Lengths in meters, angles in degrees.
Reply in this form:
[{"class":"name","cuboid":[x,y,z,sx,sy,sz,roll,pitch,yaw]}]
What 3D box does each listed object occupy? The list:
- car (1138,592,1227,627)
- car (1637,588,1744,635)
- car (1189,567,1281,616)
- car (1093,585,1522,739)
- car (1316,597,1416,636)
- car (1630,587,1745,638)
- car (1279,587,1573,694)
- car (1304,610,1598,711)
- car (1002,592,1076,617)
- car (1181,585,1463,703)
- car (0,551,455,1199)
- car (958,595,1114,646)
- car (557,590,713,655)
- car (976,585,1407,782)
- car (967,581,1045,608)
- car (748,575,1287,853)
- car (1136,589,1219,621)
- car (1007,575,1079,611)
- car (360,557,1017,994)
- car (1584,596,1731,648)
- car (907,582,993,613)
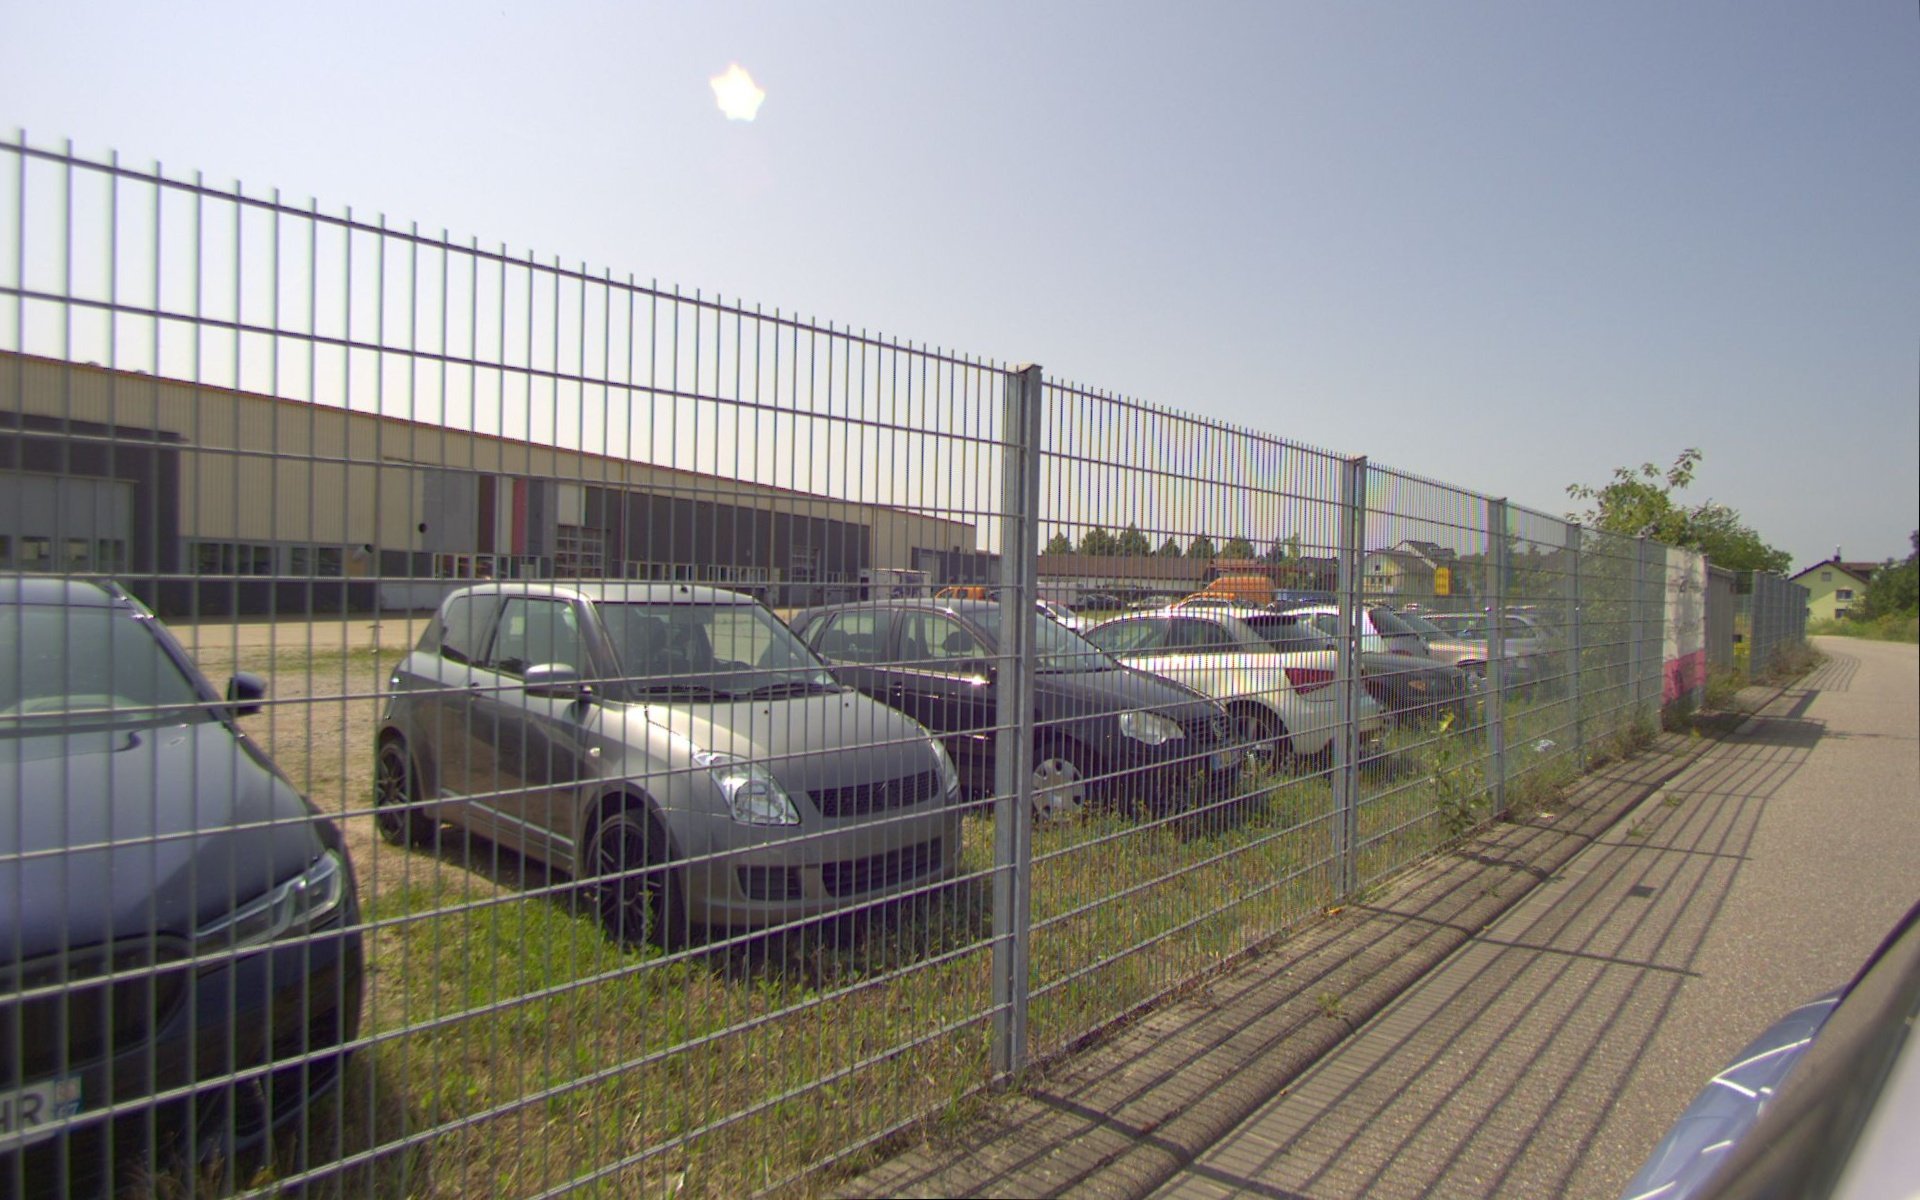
[{"class":"car","cuboid":[10.537,0.447,47.947,3.795,1.480,1.573,2,0,28]},{"class":"car","cuboid":[34.367,0.519,47.652,3.979,2.039,1.973,2,1,38]},{"class":"car","cuboid":[15.697,-0.512,57.740,4.703,2.617,1.961,2,0,28]},{"class":"car","cuboid":[3.695,0.539,11.209,4.180,1.371,1.697,1,1,41]},{"class":"car","cuboid":[16.973,0.656,42.324,3.739,1.455,1.596,2,0,28]},{"class":"car","cuboid":[31.870,0.506,44.387,3.979,2.039,1.973,2,1,38]},{"class":"car","cuboid":[6.870,0.514,15.115,3.661,1.371,1.714,1,1,43]},{"class":"car","cuboid":[8.130,0.955,16.982,4.157,1.493,1.614,-2,-1,40]},{"class":"car","cuboid":[5.029,0.283,64.529,4.350,1.395,1.824,2,0,28]},{"class":"car","cuboid":[4.802,0.507,13.593,3.263,1.371,1.506,1,1,40]},{"class":"car","cuboid":[-3.449,0.609,3.417,1.796,1.493,4.539,0,1,-45]},{"class":"car","cuboid":[2.288,0.586,30.820,4.484,1.368,1.610,1,1,29]},{"class":"car","cuboid":[-8.054,0.521,25.031,3.629,1.454,1.522,1,1,26]},{"class":"car","cuboid":[2.001,0.601,9.282,3.521,1.406,1.612,2,1,42]},{"class":"car","cuboid":[2.828,-0.351,62.424,4.345,1.504,1.956,2,0,26]},{"class":"car","cuboid":[0.276,0.580,7.372,3.645,1.496,1.726,1,2,41]},{"class":"car","cuboid":[10.916,0.243,50.806,3.795,1.480,1.573,2,0,28]},{"class":"car","cuboid":[5.527,-0.485,67.224,4.345,2.199,1.956,2,0,26]},{"class":"car","cuboid":[-1.606,0.576,5.340,3.536,1.521,1.686,1,1,41]},{"class":"car","cuboid":[25.480,0.777,37.052,4.276,1.658,1.739,2,0,41]},{"class":"car","cuboid":[-0.539,-0.120,55.098,4.345,1.504,1.737,2,0,26]}]
